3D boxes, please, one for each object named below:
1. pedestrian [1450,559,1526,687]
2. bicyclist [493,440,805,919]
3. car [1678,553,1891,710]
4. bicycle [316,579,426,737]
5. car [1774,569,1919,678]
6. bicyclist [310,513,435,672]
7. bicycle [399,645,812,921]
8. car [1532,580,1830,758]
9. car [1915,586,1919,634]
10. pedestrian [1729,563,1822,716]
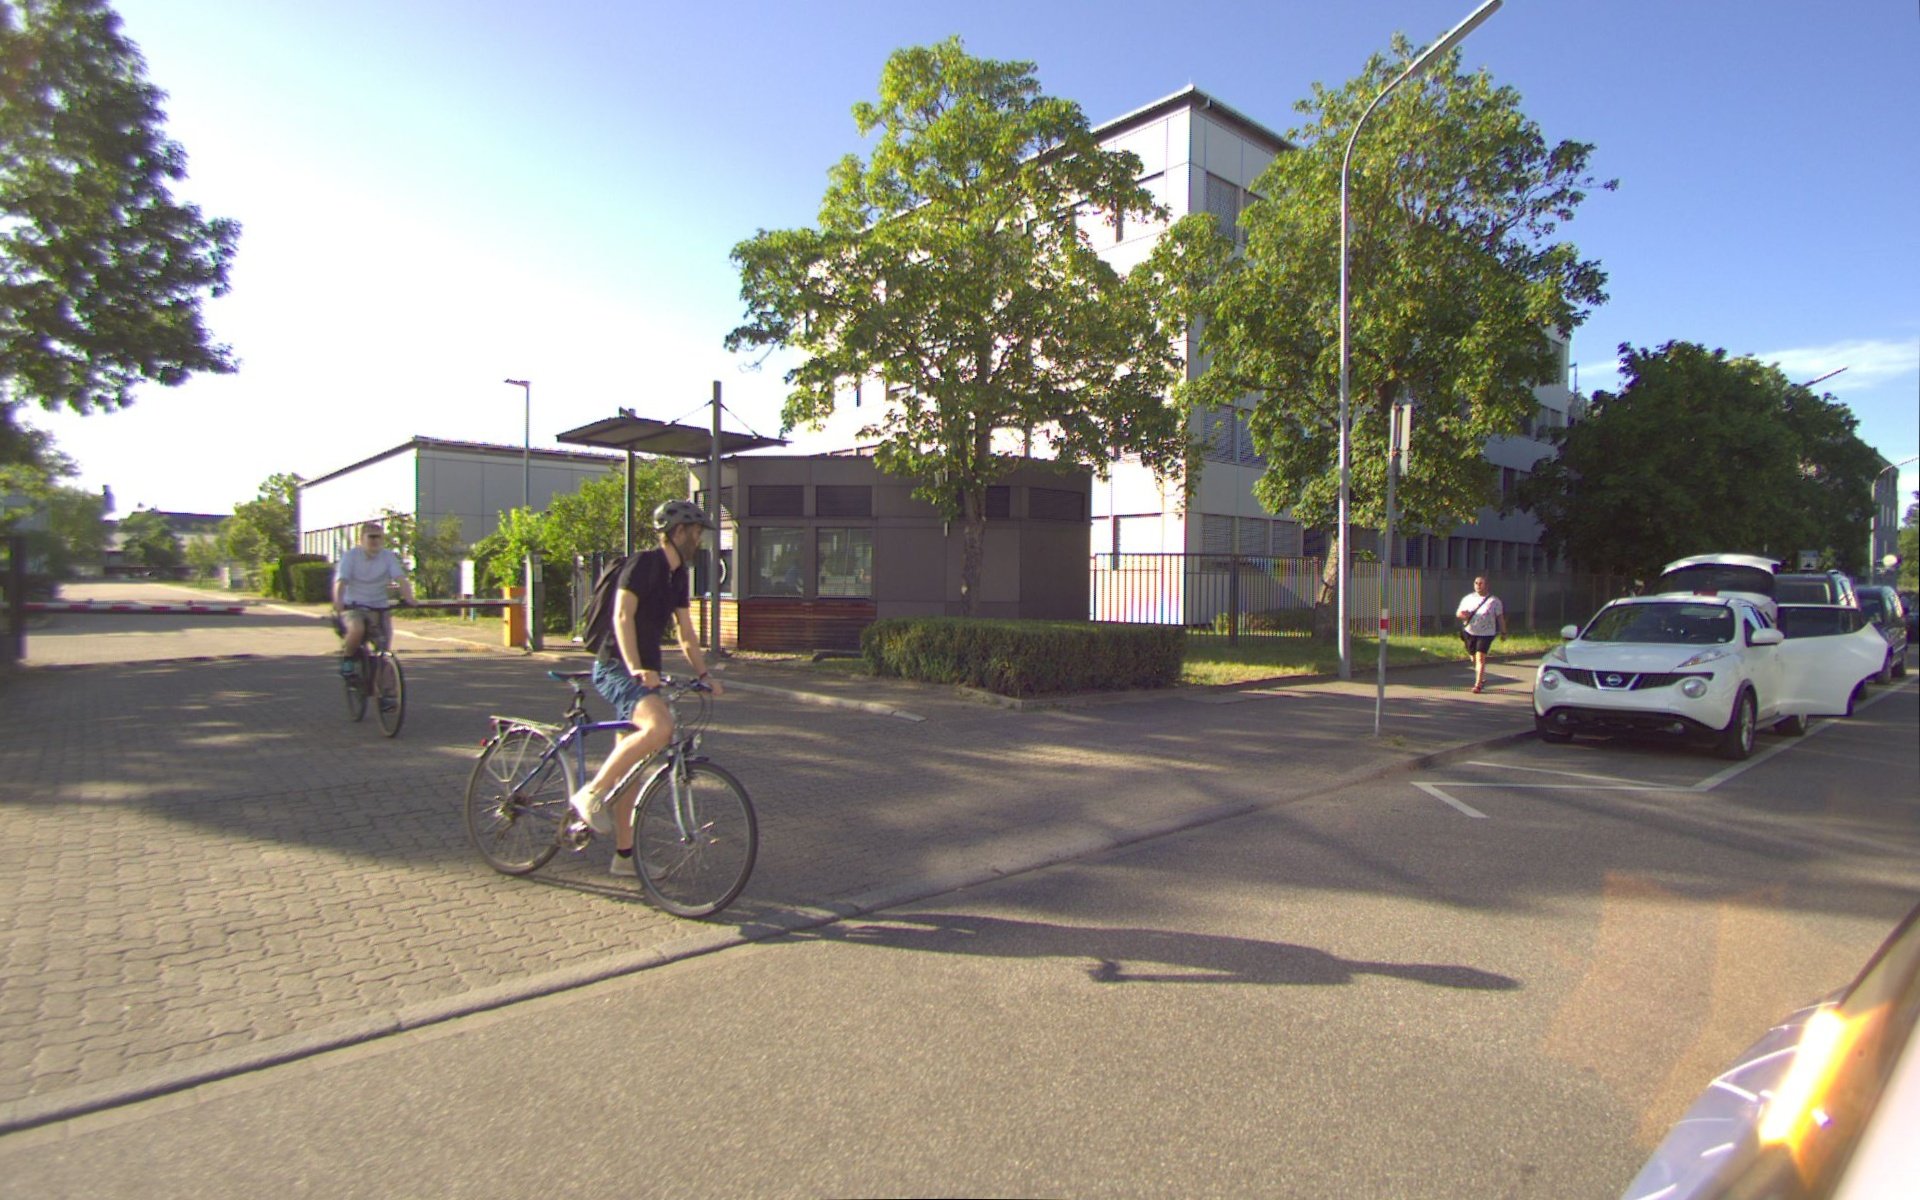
[{"bbox_3d":[7.531,0.300,14.431,0.762,1.750,0.692,0,2,-42],"label":"pedestrian"},{"bbox_3d":[-1.474,0.308,4.929,1.039,2.038,0.954,3,1,18],"label":"bicyclist"},{"bbox_3d":[11.974,0.366,14.565,4.940,1.893,1.865,0,0,-45],"label":"car"},{"bbox_3d":[-5.062,0.435,8.788,0.654,1.157,1.907,1,2,-26],"label":"bicycle"},{"bbox_3d":[16.699,0.377,18.870,4.220,1.817,1.704,0,0,-42],"label":"car"},{"bbox_3d":[-5.099,-0.068,8.856,0.844,1.284,1.102,1,1,-26],"label":"bicyclist"},{"bbox_3d":[-1.744,0.825,5.002,1.860,1.021,0.697,3,2,17],"label":"bicycle"},{"bbox_3d":[7.709,0.581,10.676,4.042,1.533,1.667,0,0,-41],"label":"car"},{"bbox_3d":[34.946,0.316,35.376,4.220,1.646,1.888,0,0,-42],"label":"car"},{"bbox_3d":[9.762,0.454,12.121,0.690,1.768,0.591,0,-1,-23],"label":"pedestrian"}]
